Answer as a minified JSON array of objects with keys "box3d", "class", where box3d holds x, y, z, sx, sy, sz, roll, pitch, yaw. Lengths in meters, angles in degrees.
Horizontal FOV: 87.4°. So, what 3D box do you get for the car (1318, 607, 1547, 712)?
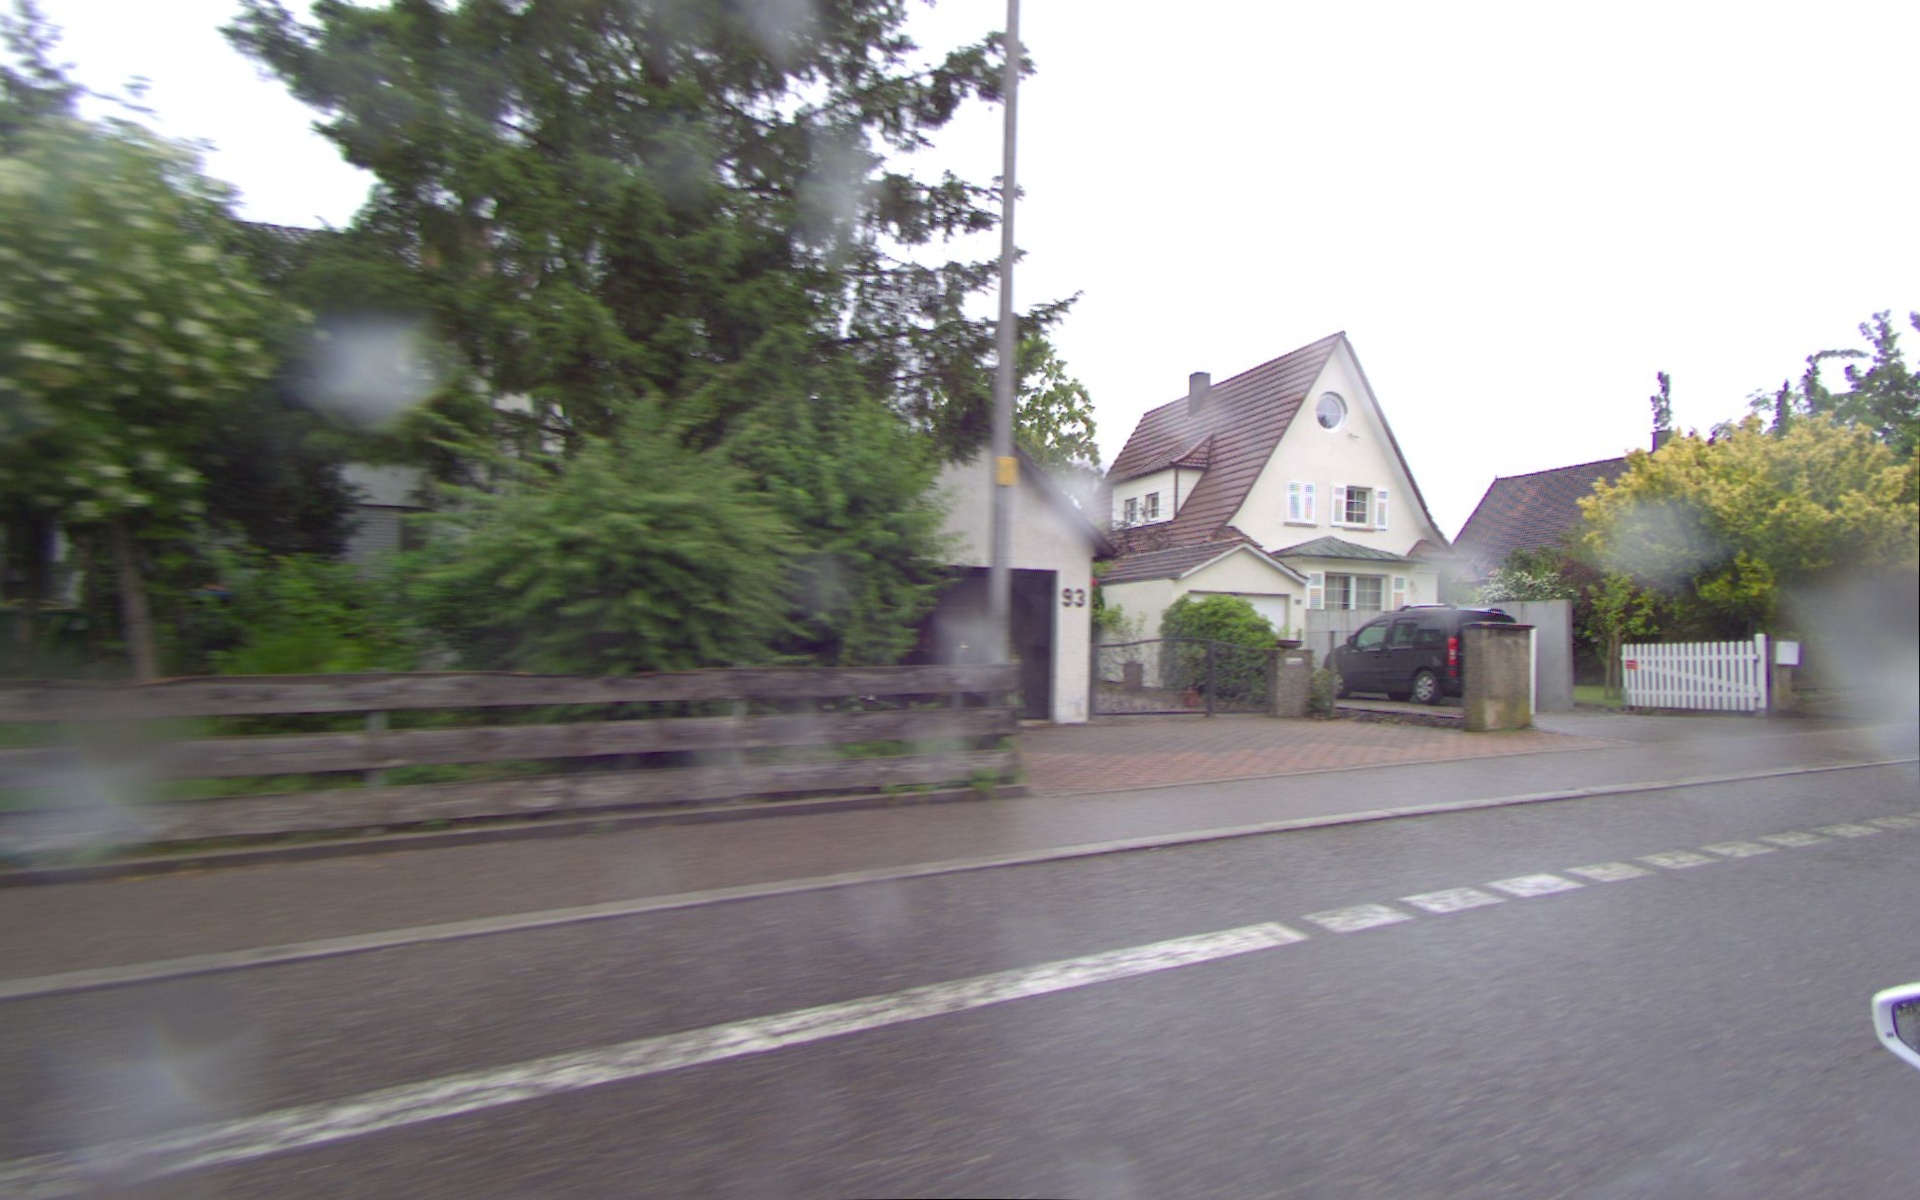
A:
[{"box3d":[9.046,1.068,19.640,1.967,1.808,3.988,1,0,-15],"class":"car"}]
